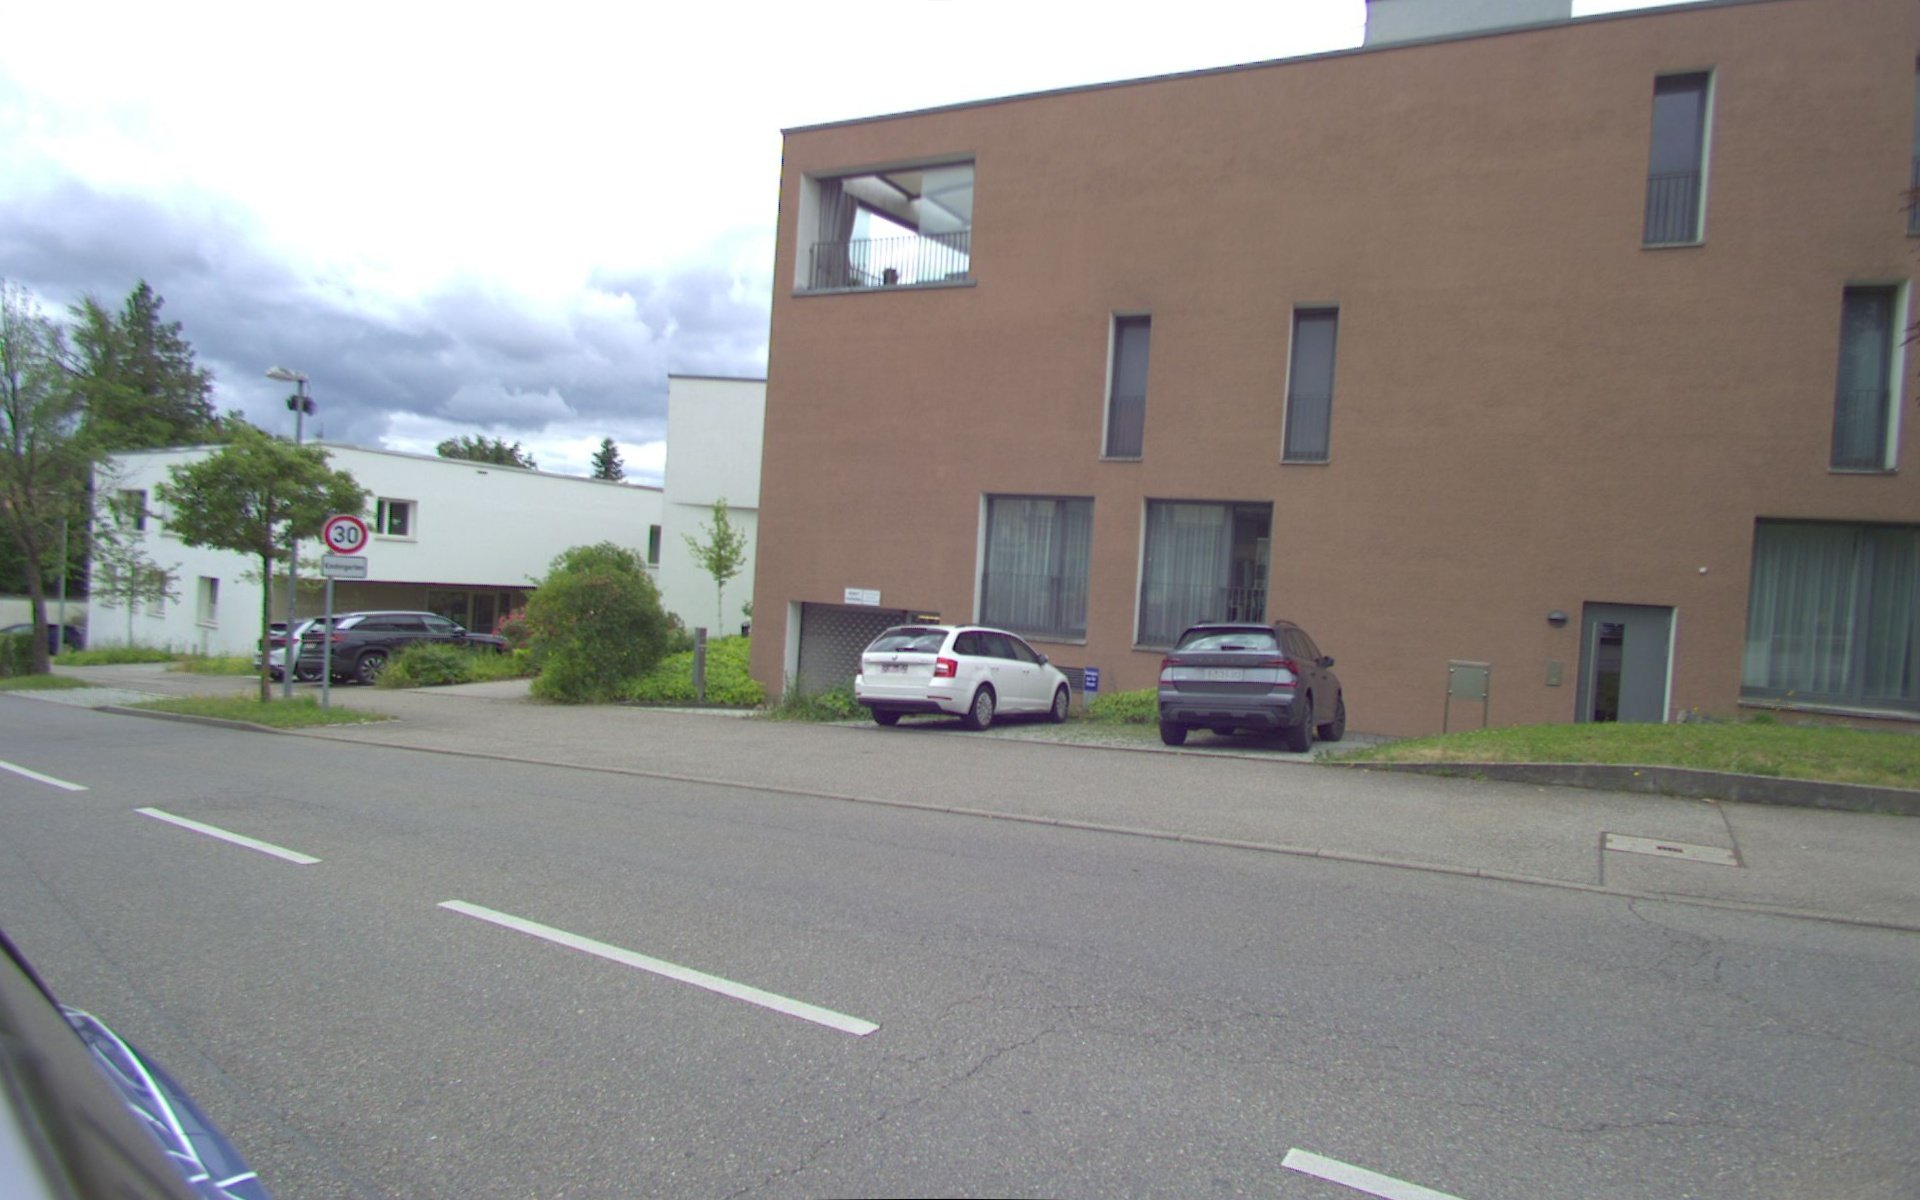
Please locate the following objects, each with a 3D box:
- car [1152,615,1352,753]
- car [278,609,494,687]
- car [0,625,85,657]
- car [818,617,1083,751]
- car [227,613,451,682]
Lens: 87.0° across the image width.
[{"bbox_3d":[3.849,1.011,12.925,1.724,1.475,3.735,-1,-4,28],"label":"car"},{"bbox_3d":[-13.390,1.079,23.805,2.004,1.666,3.952,-1,-2,35],"label":"car"},{"bbox_3d":[-41.132,1.777,44.423,1.734,1.364,3.769,0,-2,29],"label":"car"},{"bbox_3d":[0.023,1.170,15.116,2.007,1.635,4.228,1,-2,31],"label":"car"},{"bbox_3d":[-15.568,1.195,25.602,2.060,1.578,4.352,-1,-3,33],"label":"car"}]
